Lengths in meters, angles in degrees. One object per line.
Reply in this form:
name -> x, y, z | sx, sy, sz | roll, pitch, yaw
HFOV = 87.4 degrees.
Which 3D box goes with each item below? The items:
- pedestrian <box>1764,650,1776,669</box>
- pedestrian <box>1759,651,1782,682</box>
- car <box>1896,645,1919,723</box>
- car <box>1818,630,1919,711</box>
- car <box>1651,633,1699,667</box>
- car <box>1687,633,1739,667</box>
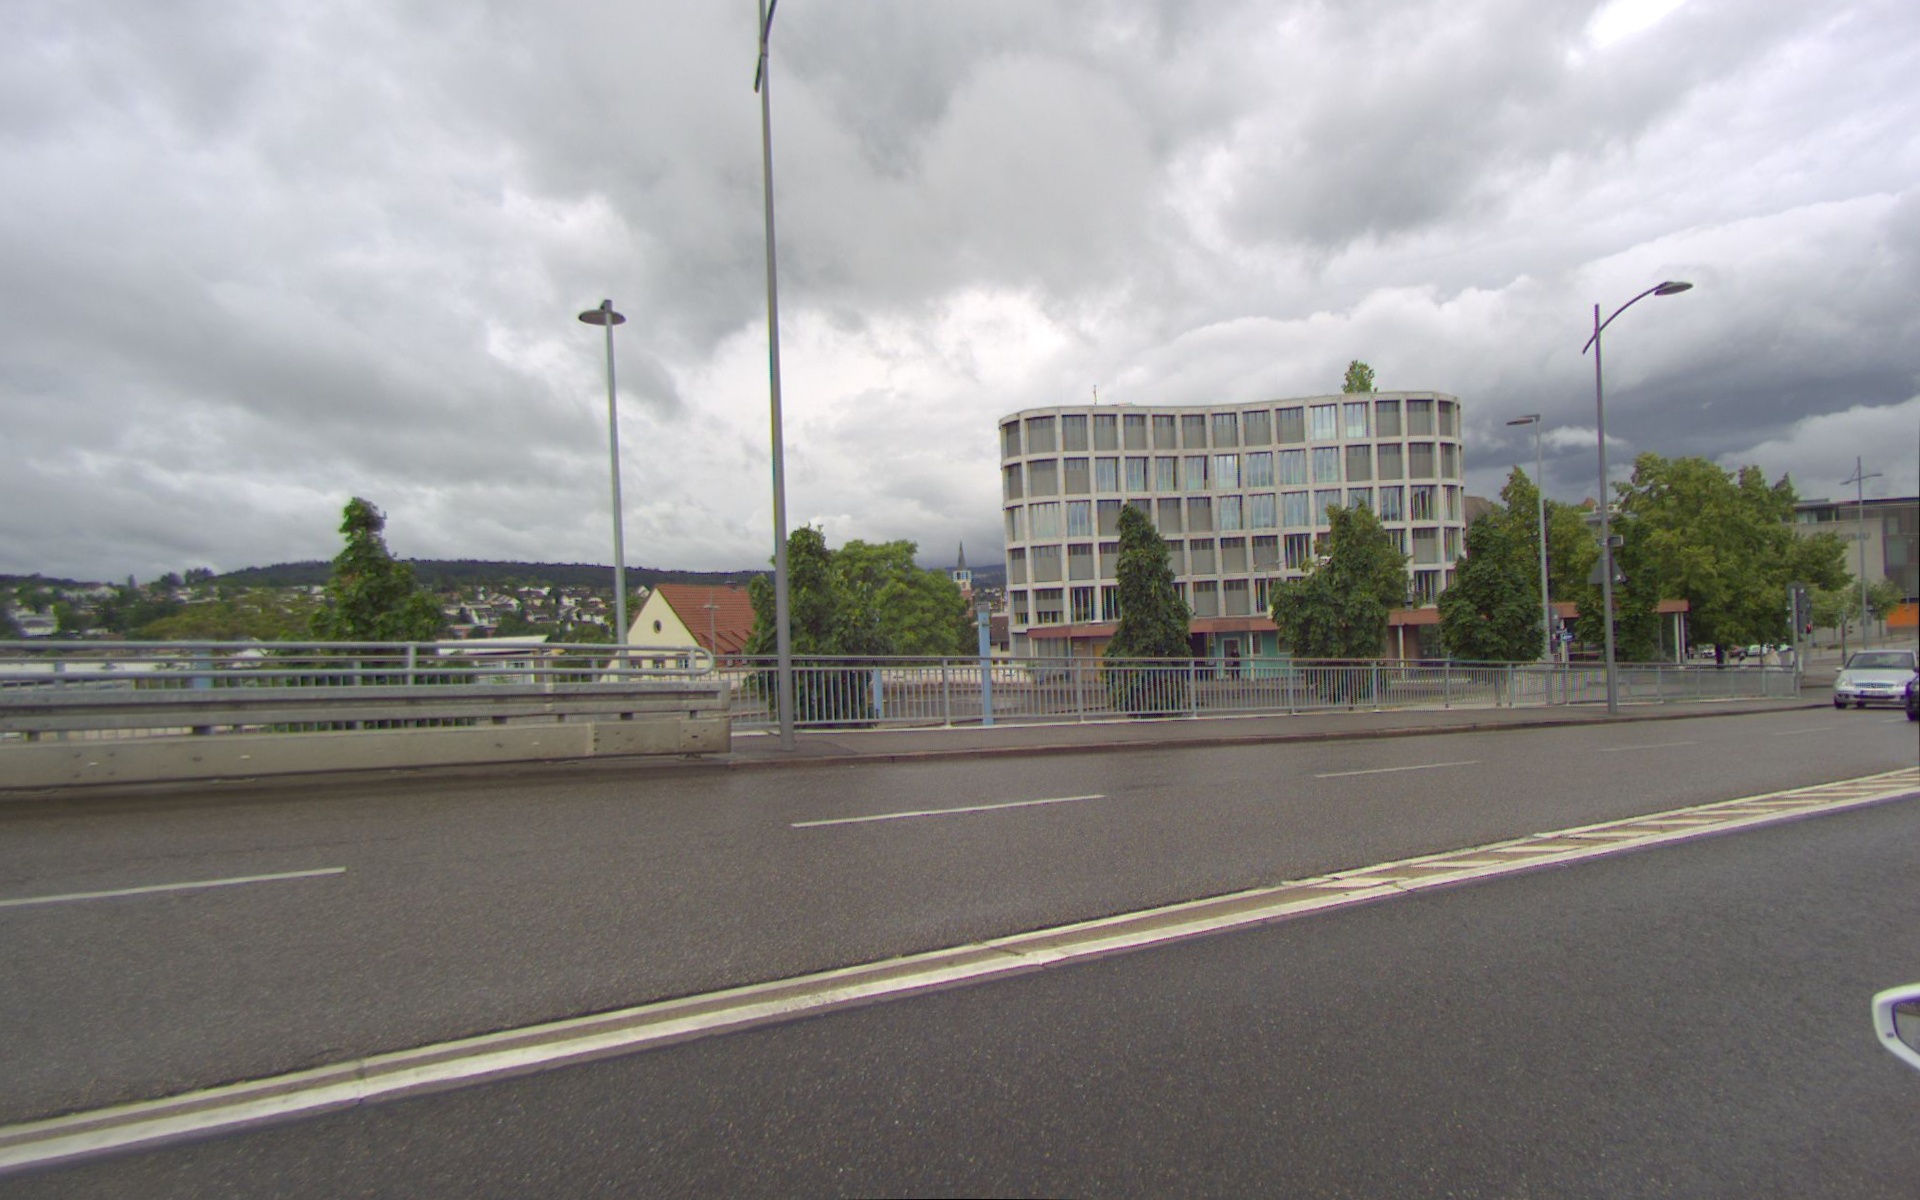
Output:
pedestrian -> 38.497, 2.832, 47.746 | 0.294, 0.885, 0.300 | -1, -1, -27
pedestrian -> 38.511, 3.142, 47.707 | 0.524, 1.427, 0.646 | -1, -1, -27
car -> 21.470, 1.728, 21.059 | 4.549, 1.546, 1.821 | 2, -3, -35
car -> 25.148, 1.845, 27.299 | 3.964, 2.040, 1.979 | 1, -3, -38
car -> 51.484, 3.558, 72.391 | 1.962, 2.041, 3.997 | 3, 3, 23
car -> 53.711, 3.511, 71.704 | 1.962, 2.041, 3.997 | 3, 3, 23
